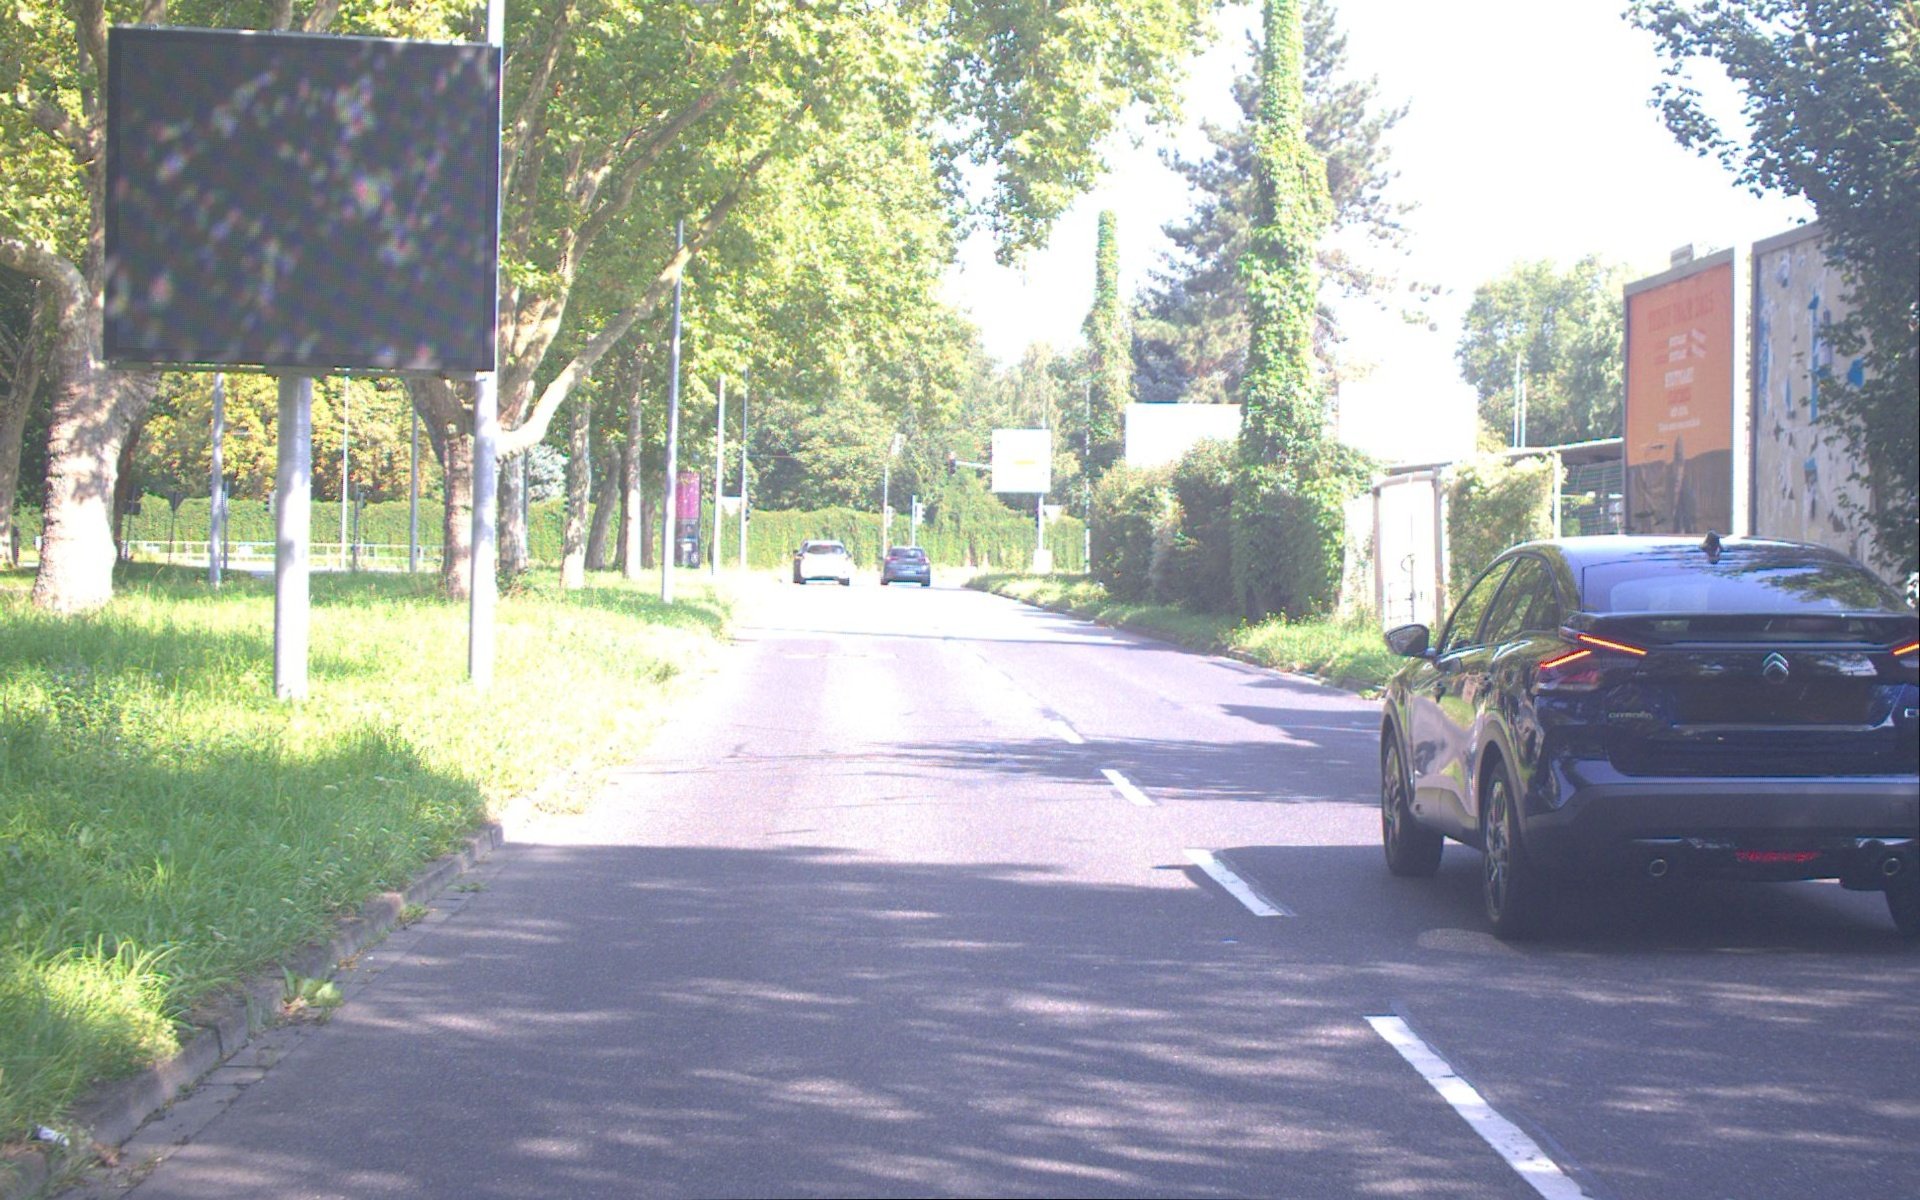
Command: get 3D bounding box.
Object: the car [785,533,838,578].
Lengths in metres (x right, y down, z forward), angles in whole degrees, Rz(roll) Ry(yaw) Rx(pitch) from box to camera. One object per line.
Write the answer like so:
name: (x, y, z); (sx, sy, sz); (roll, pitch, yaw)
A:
car: (-5.075, -1.521, 117.872); (1.687, 1.457, 4.000); (2, 1, -1)

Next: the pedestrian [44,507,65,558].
pedestrian: (-30.219, -2.237, 114.725); (0.542, 1.685, 0.658); (1, 0, -5)

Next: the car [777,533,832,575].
car: (-5.677, -1.680, 125.919); (1.687, 1.457, 3.849); (2, 1, 2)

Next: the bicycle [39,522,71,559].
bicycle: (-30.223, -1.980, 114.829); (0.544, 1.195, 2.762); (1, 1, -6)

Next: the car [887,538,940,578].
car: (-1.722, -1.538, 126.544); (1.797, 1.396, 4.000); (2, 1, -3)

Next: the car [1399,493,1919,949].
car: (2.796, 0.403, 14.144); (1.645, 1.583, 4.254); (0, 0, 3)

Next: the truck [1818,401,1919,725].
truck: (7.560, -0.225, 22.710); (1.914, 2.225, 6.913); (2, 1, -1)
